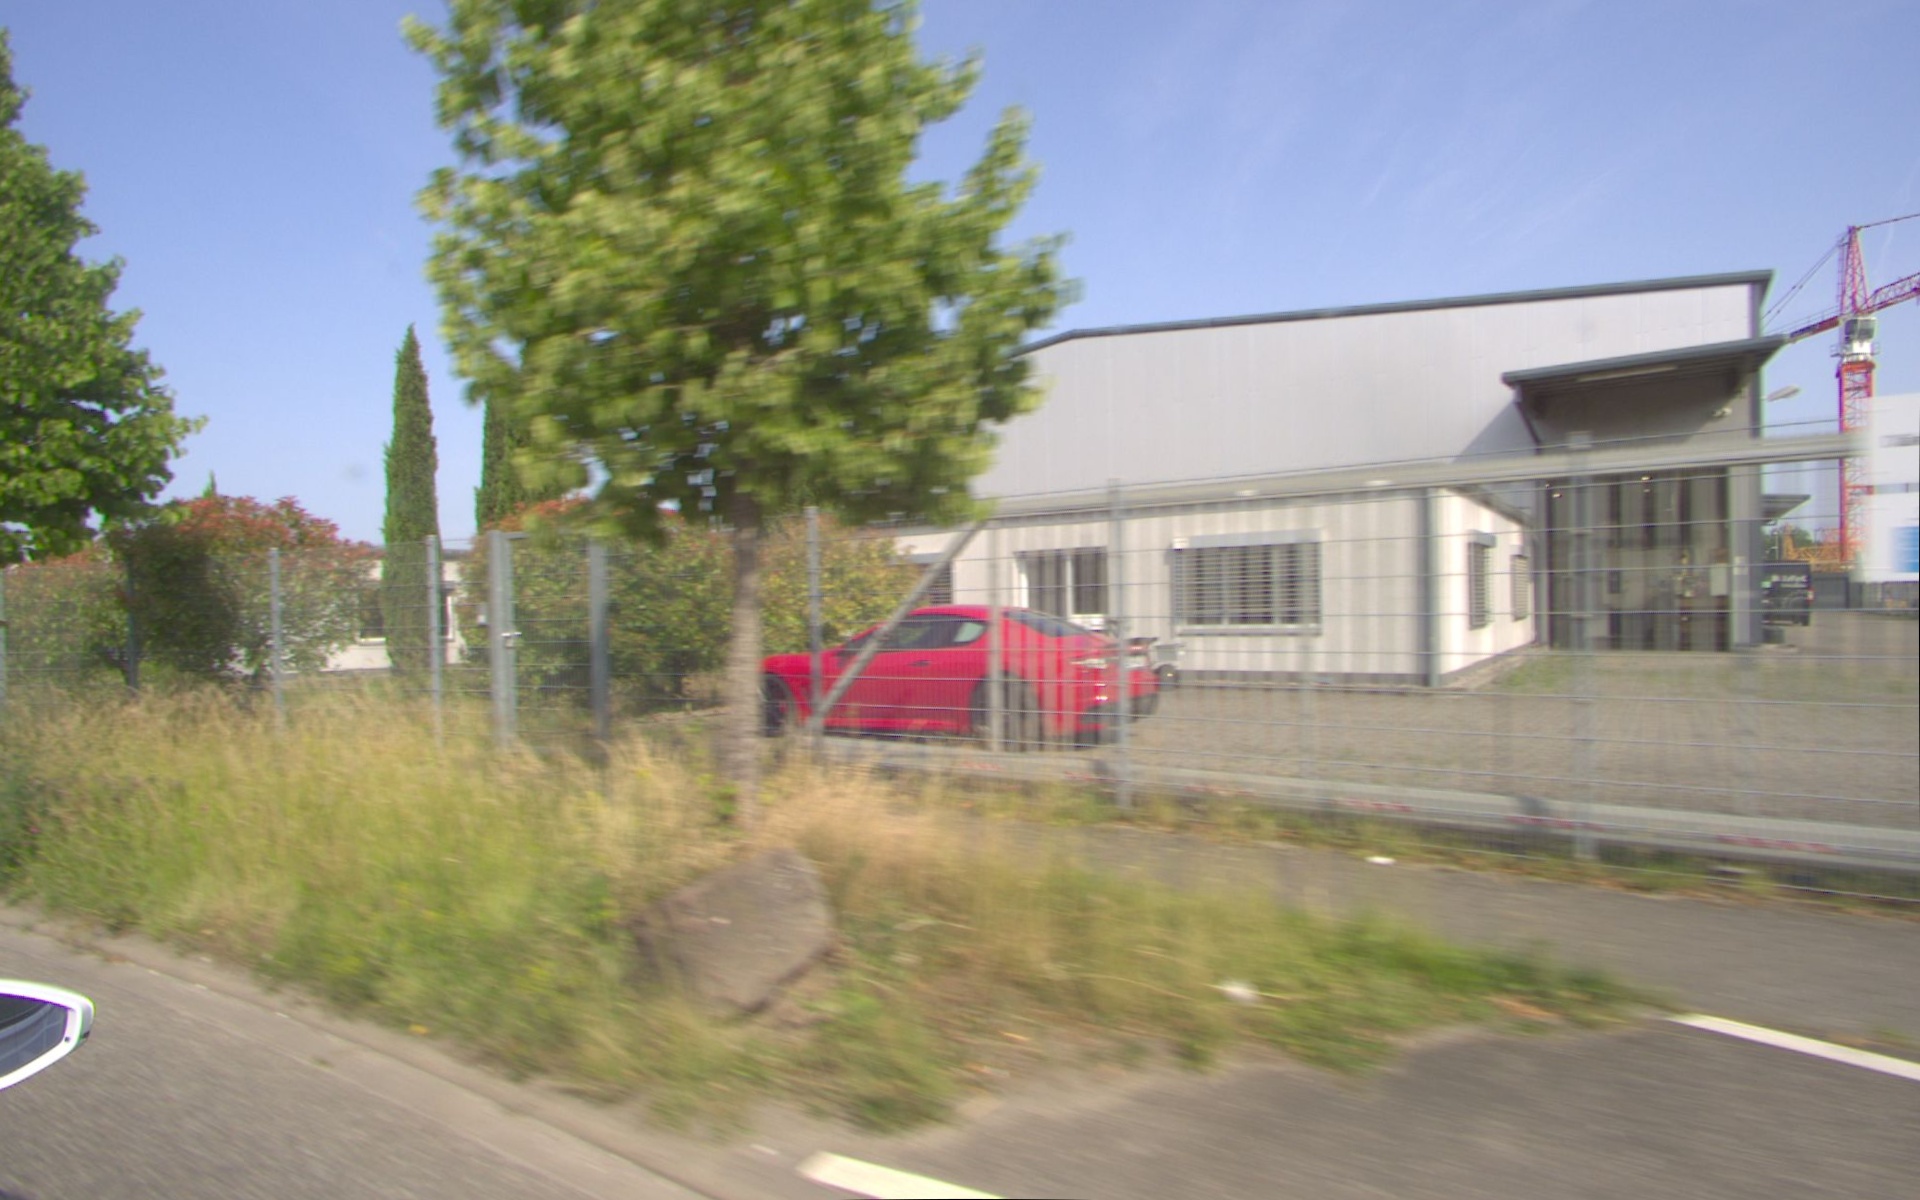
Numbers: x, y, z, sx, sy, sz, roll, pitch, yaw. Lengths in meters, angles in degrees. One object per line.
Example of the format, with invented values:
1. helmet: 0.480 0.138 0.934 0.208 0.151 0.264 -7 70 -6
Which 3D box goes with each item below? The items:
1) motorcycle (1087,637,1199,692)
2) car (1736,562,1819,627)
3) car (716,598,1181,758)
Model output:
1. motorcycle: 2.723 0.944 14.977 1.562 0.761 0.532 -1 1 36
2. car: 32.604 -0.234 40.085 2.195 2.422 4.675 1 1 35
3. car: -0.230 0.709 10.660 4.705 1.376 1.876 -1 0 32
